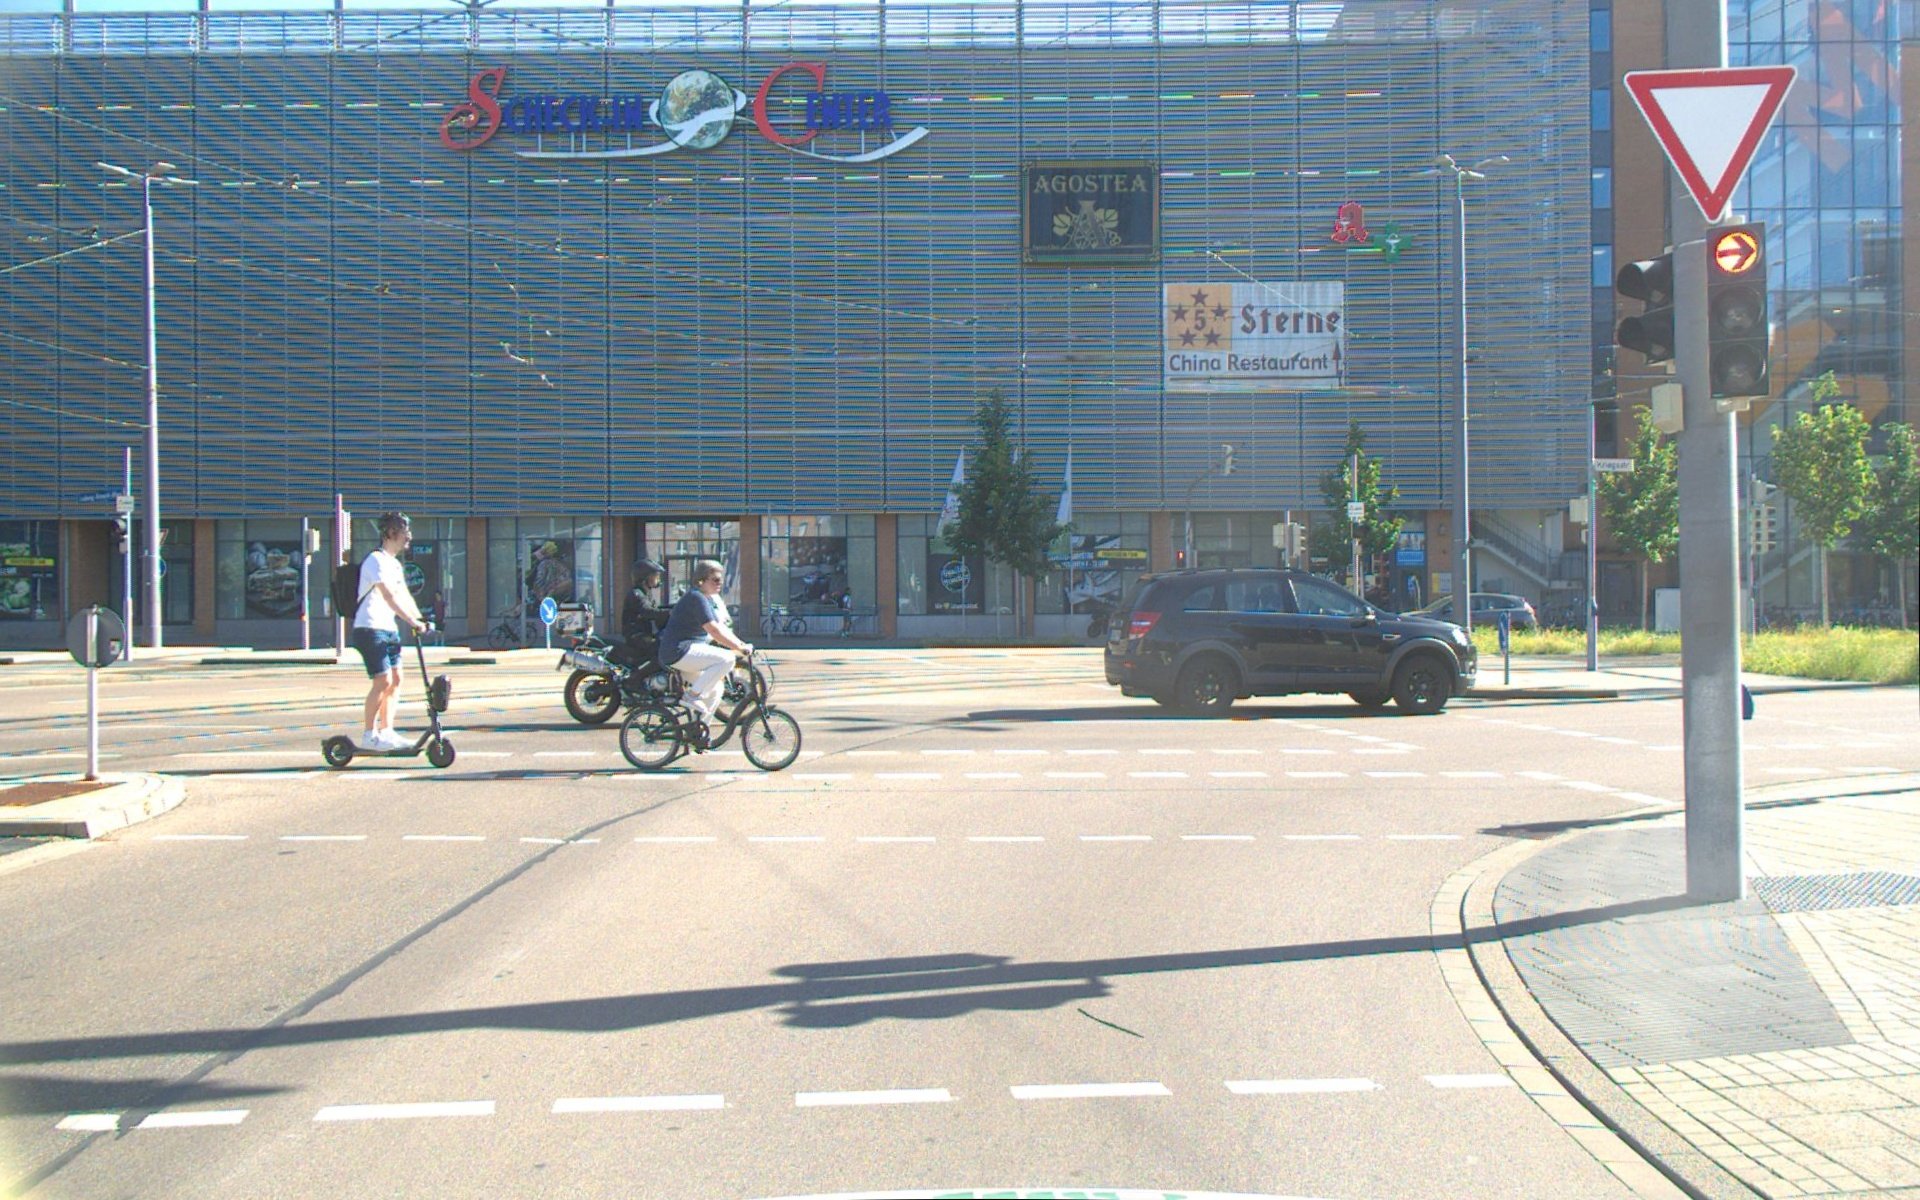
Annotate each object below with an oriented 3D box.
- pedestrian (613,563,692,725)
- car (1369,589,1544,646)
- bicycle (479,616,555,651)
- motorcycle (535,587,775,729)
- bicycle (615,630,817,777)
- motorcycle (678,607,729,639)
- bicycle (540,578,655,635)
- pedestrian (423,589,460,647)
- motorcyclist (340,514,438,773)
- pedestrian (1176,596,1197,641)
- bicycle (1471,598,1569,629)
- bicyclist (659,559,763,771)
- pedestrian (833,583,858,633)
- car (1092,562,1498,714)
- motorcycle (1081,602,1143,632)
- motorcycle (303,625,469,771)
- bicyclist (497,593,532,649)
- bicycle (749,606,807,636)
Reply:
[{"bbox_3d":[-3.285,0.465,17.728,0.729,1.706,0.664,0,0,-1],"label":"pedestrian"},{"bbox_3d":[13.723,0.477,45.853,4.395,1.521,1.494,0,0,-1],"label":"car"},{"bbox_3d":[-14.645,1.088,54.746,2.225,1.089,1.030,0,0,-42],"label":"bicycle"},{"bbox_3d":[-3.222,0.606,17.678,2.394,1.443,0.914,1,0,-3],"label":"motorcycle"},{"bbox_3d":[-1.945,0.815,13.345,1.545,1.126,0.734,0,0,-3],"label":"bicycle"},{"bbox_3d":[-8.664,0.767,55.888,1.616,1.078,0.497,0,0,9],"label":"motorcycle"},{"bbox_3d":[-13.341,0.244,60.977,3.905,2.049,1.330,0,0,-1],"label":"bicycle"},{"bbox_3d":[-17.180,0.590,54.807,0.890,1.901,0.816,-1,0,42],"label":"pedestrian"},{"bbox_3d":[-4.597,0.344,13.335,0.615,2.049,0.497,0,0,-1],"label":"motorcyclist"},{"bbox_3d":[7.585,0.607,55.353,0.577,1.488,0.658,0,0,-1],"label":"pedestrian"},{"bbox_3d":[20.819,0.490,61.536,3.289,1.096,1.117,1,0,5],"label":"bicycle"},{"bbox_3d":[-2.024,0.517,13.532,0.767,1.677,0.690,0,0,-3],"label":"bicyclist"},{"bbox_3d":[-4.128,0.278,59.705,0.831,1.794,0.620,0,0,-2],"label":"pedestrian"},{"bbox_3d":[4.032,0.414,20.268,4.548,1.748,1.836,0,1,-8],"label":"car"},{"bbox_3d":[5.597,0.609,60.905,2.157,1.061,1.061,0,0,-1],"label":"motorcycle"},{"bbox_3d":[-4.613,0.776,13.328,1.162,1.141,0.483,0,0,-1],"label":"motorcycle"},{"bbox_3d":[-14.735,0.675,54.662,0.838,1.834,0.803,0,0,-42],"label":"bicyclist"},{"bbox_3d":[-6.658,0.759,60.537,1.985,1.078,1.144,0,0,-1],"label":"bicycle"}]
